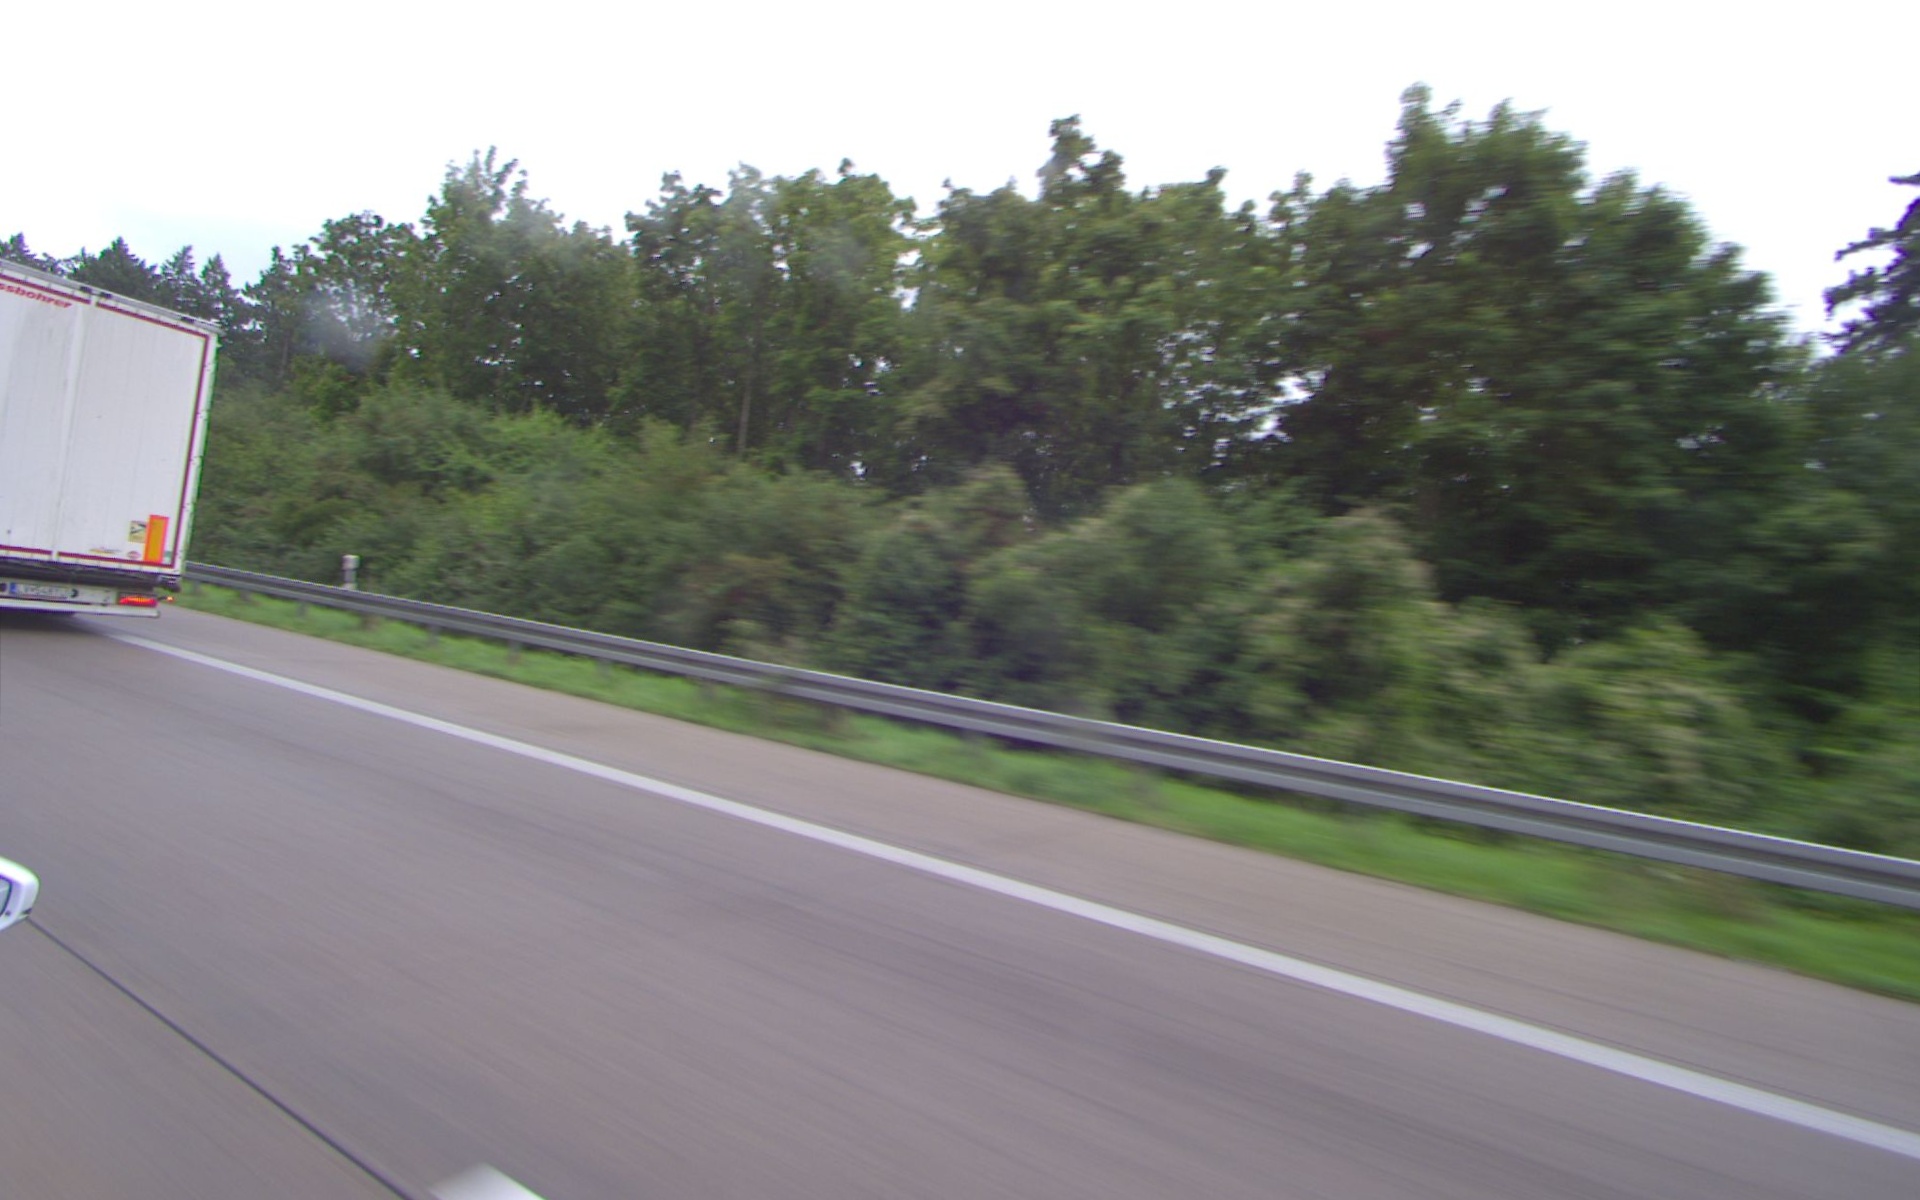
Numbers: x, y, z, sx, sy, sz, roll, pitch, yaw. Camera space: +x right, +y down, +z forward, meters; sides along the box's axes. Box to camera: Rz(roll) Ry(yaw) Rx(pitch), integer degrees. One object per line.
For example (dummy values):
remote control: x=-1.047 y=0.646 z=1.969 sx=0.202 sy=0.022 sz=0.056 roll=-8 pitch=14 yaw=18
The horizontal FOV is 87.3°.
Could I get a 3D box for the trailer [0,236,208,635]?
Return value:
trailer: x=-15.080 y=-2.317 z=14.126 sx=11.849 sy=4.117 sz=2.424 roll=7 pitch=0 yaw=30
